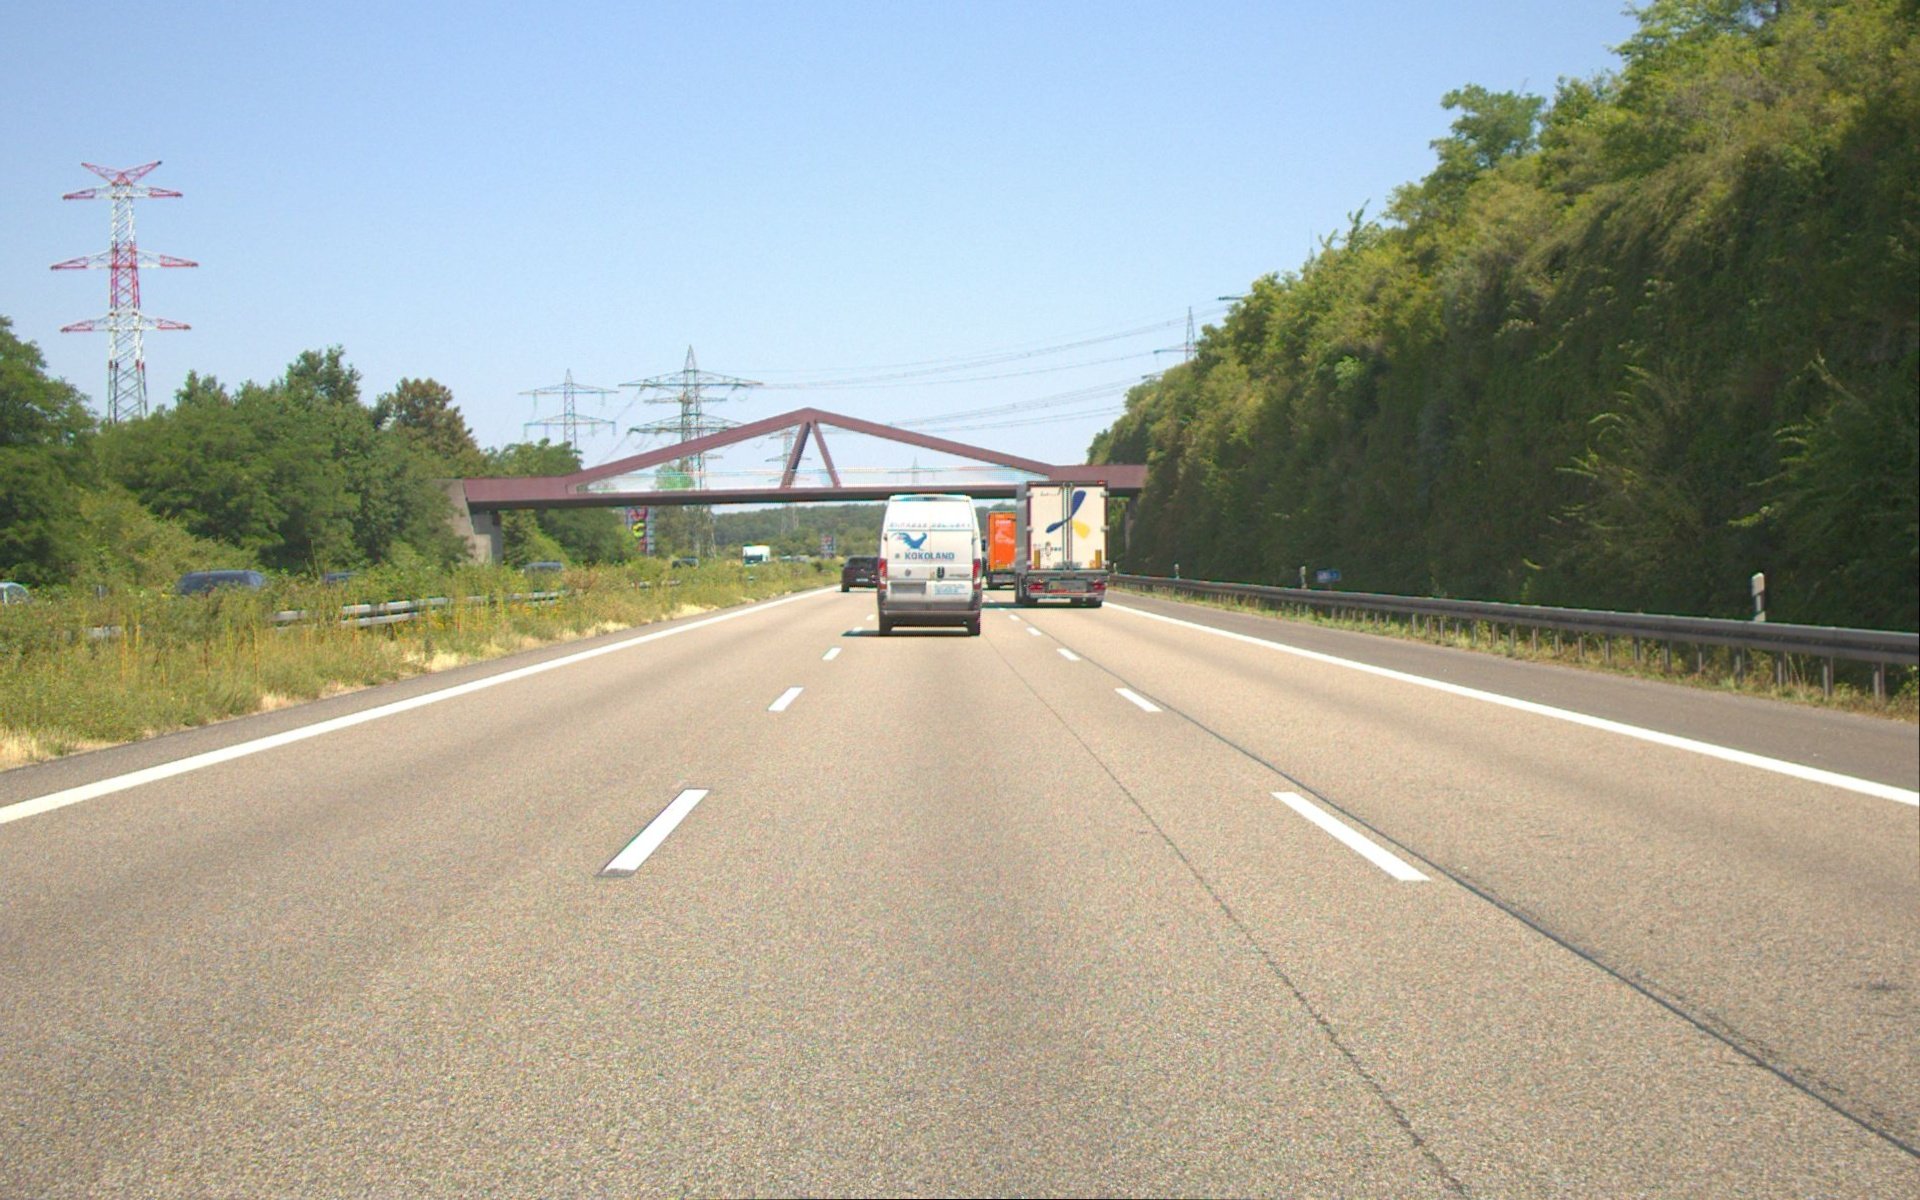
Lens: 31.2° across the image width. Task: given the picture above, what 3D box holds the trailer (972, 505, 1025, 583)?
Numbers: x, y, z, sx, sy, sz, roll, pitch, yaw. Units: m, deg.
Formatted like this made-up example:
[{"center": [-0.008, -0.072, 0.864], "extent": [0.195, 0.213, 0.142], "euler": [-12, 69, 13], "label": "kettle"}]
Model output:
[{"center": [1.968, -2.884, 178.216], "extent": [2.637, 3.883, 7.069], "euler": [1, 1, 0], "label": "trailer"}]

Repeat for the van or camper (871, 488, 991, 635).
[{"center": [-0.594, -0.780, 68.837], "extent": [2.230, 2.772, 5.423], "euler": [1, 1, -1], "label": "van or camper"}]

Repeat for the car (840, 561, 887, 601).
[{"center": [-4.551, -0.909, 162.240], "extent": [1.982, 1.811, 3.812], "euler": [1, 1, 1], "label": "car"}]

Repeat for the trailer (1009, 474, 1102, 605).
[{"center": [3.076, -1.979, 113.760], "extent": [2.637, 4.046, 12.366], "euler": [1, 1, 0], "label": "trailer"}]
